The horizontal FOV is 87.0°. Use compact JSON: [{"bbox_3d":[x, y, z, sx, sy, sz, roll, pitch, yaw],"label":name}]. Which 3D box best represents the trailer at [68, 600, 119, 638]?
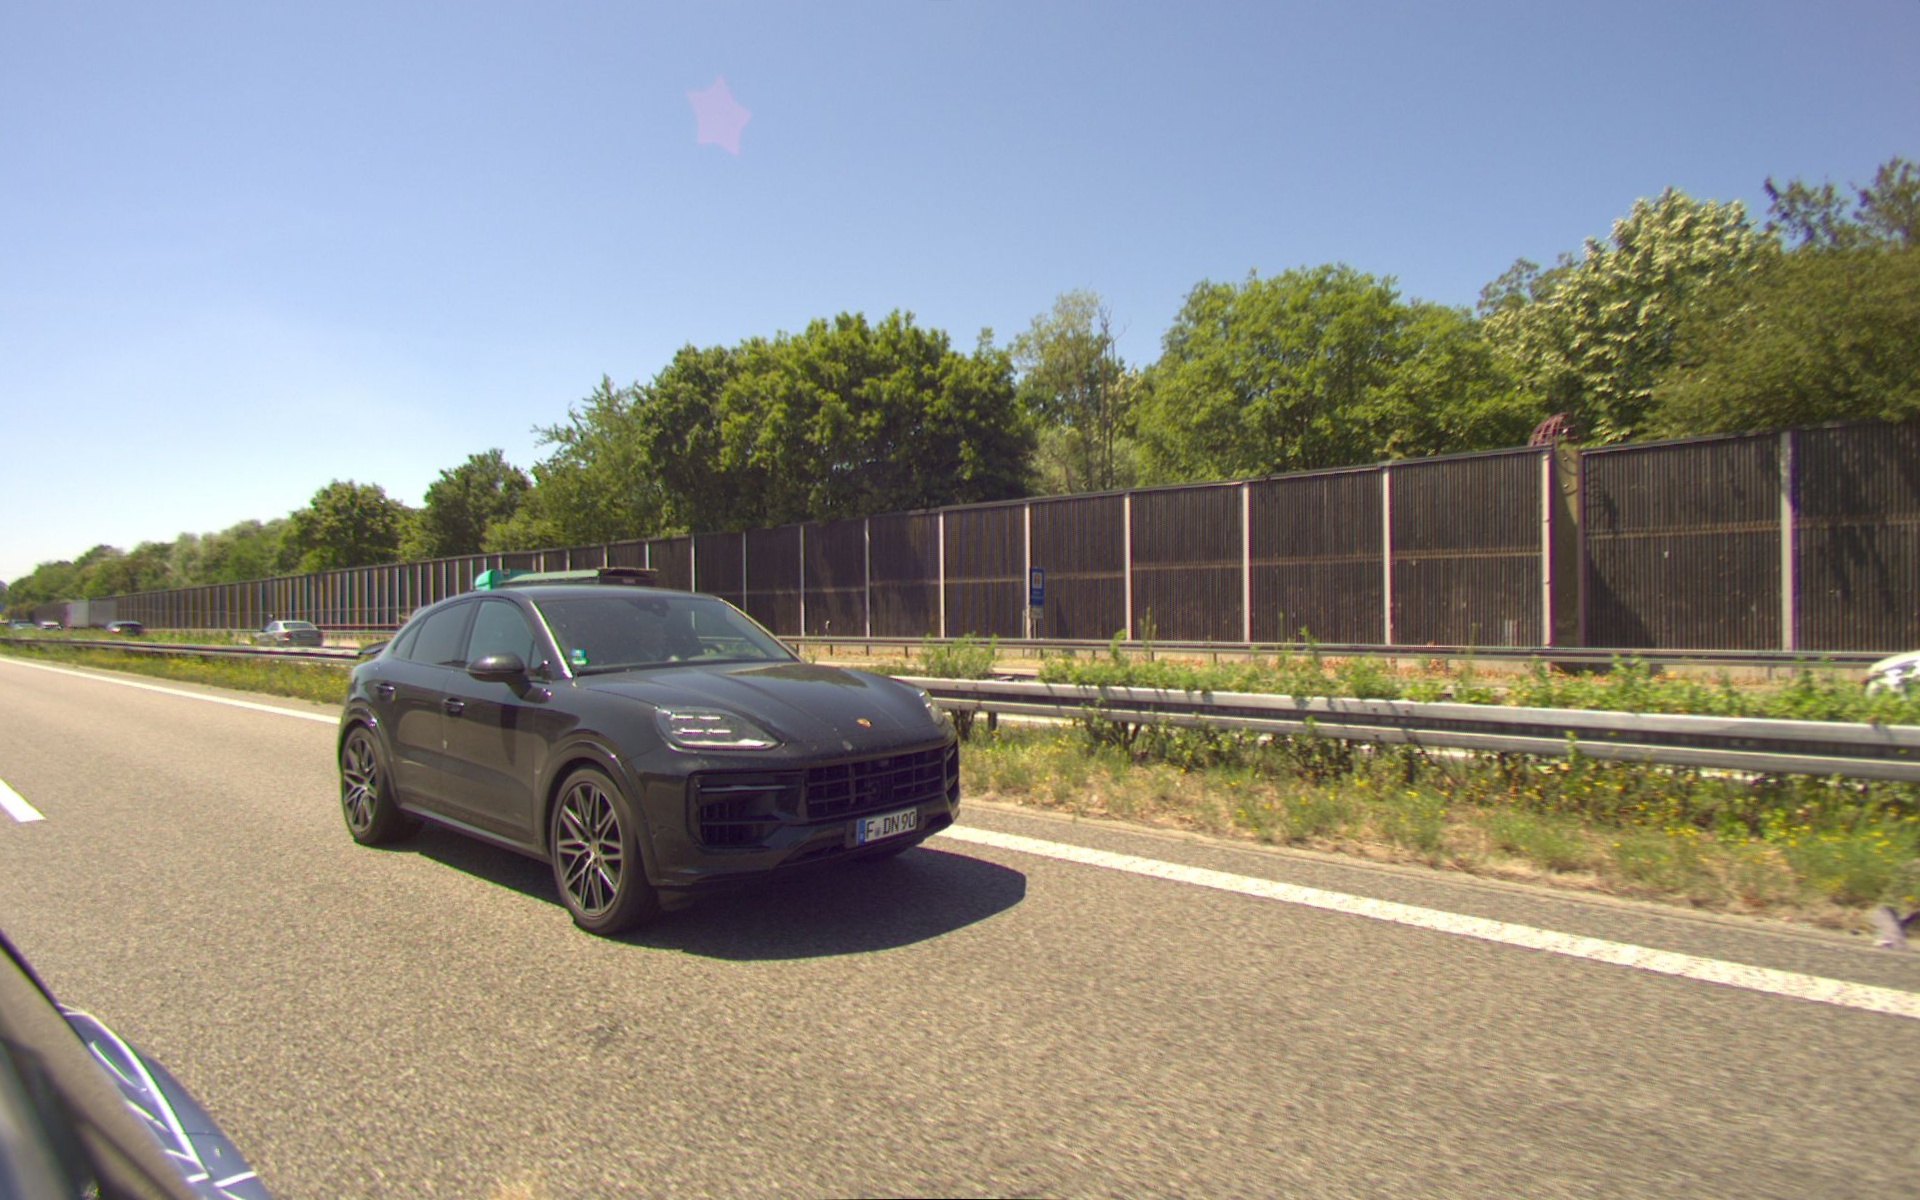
[{"bbox_3d":[-98.527,2.199,114.972,14.266,4.118,2.469,-1,-2,42],"label":"trailer"}]

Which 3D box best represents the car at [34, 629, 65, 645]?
[{"bbox_3d":[-99.717,4.021,110.817,4.530,1.733,1.973,-1,-1,41],"label":"car"}]

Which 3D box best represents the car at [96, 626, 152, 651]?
[{"bbox_3d":[-50.478,2.298,61.059,4.457,1.457,1.937,-1,-1,41],"label":"car"}]

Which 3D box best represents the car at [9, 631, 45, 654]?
[{"bbox_3d":[-86.353,3.910,93.674,3.998,1.962,1.973,-1,1,41],"label":"car"}]

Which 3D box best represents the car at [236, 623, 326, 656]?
[{"bbox_3d":[-31.684,1.829,47.187,5.074,1.452,1.848,-1,-1,36],"label":"car"}]

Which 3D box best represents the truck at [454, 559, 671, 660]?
[{"bbox_3d":[-16.957,0.460,42.392,12.360,3.703,3.058,-1,-2,41],"label":"truck"}]

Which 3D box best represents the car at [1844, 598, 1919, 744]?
[{"bbox_3d":[12.472,0.763,10.828,4.490,1.602,1.973,-1,-1,41],"label":"car"}]

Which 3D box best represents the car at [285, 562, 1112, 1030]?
[{"bbox_3d":[-2.073,0.742,6.222,5.768,1.637,2.022,-2,-1,41],"label":"car"}]
